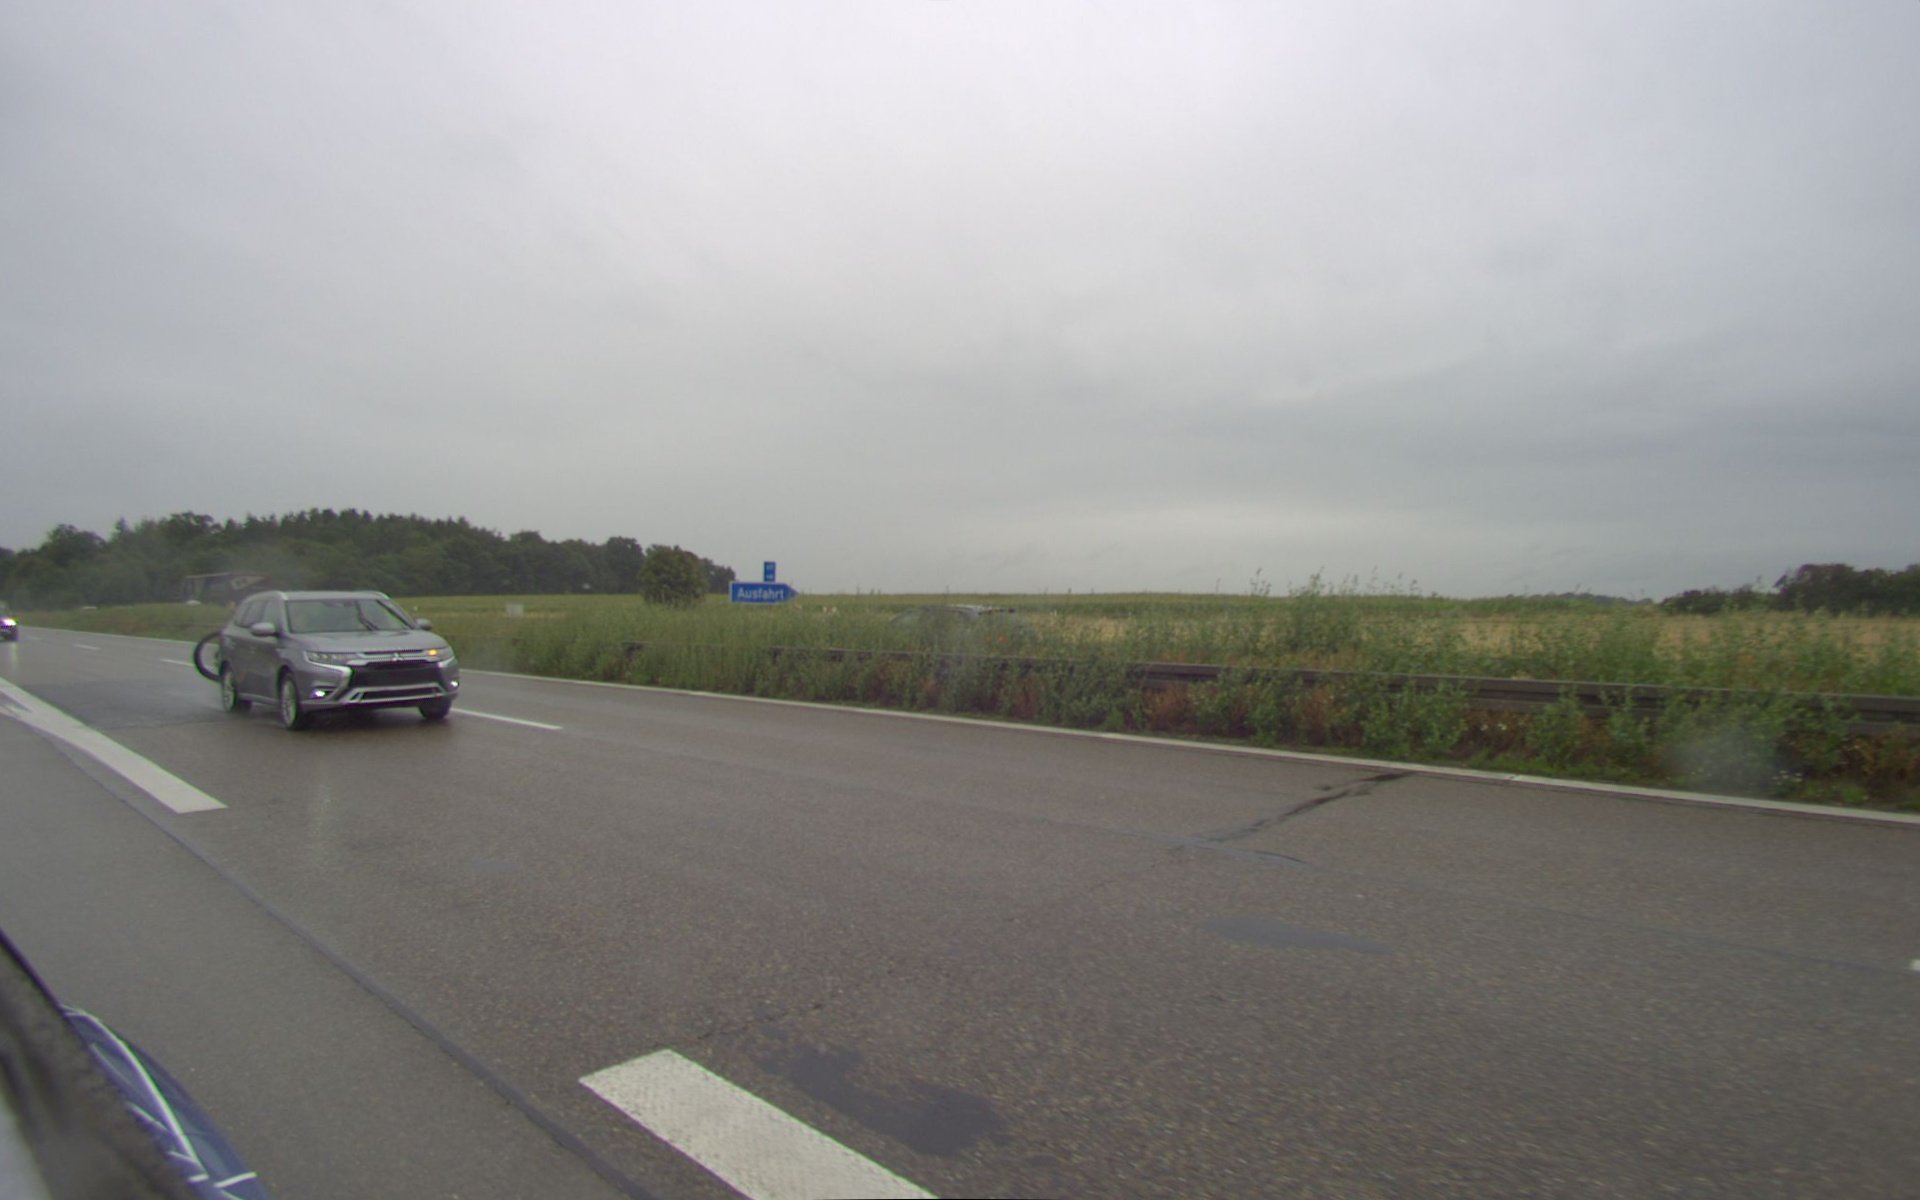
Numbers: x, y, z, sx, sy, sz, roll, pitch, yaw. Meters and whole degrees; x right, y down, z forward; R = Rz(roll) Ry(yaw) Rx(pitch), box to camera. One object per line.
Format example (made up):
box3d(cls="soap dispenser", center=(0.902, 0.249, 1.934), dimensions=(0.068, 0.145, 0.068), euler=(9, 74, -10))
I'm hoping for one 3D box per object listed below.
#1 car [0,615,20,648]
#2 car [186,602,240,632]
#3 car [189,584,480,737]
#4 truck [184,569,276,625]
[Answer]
box3d(cls="car", center=(-45.444, 1.443, 47.166), dimensions=(4.595, 1.465, 2.071), euler=(-1, -1, 43))
box3d(cls="car", center=(-49.707, 1.088, 67.319), dimensions=(4.531, 1.889, 2.082), euler=(-1, 1, 43))
box3d(cls="car", center=(-8.348, 0.663, 13.271), dimensions=(5.099, 1.646, 1.843), euler=(-1, 0, 41))
box3d(cls="truck", center=(-57.509, -0.196, 79.492), dimensions=(13.814, 3.996, 3.160), euler=(-1, 2, 43))
